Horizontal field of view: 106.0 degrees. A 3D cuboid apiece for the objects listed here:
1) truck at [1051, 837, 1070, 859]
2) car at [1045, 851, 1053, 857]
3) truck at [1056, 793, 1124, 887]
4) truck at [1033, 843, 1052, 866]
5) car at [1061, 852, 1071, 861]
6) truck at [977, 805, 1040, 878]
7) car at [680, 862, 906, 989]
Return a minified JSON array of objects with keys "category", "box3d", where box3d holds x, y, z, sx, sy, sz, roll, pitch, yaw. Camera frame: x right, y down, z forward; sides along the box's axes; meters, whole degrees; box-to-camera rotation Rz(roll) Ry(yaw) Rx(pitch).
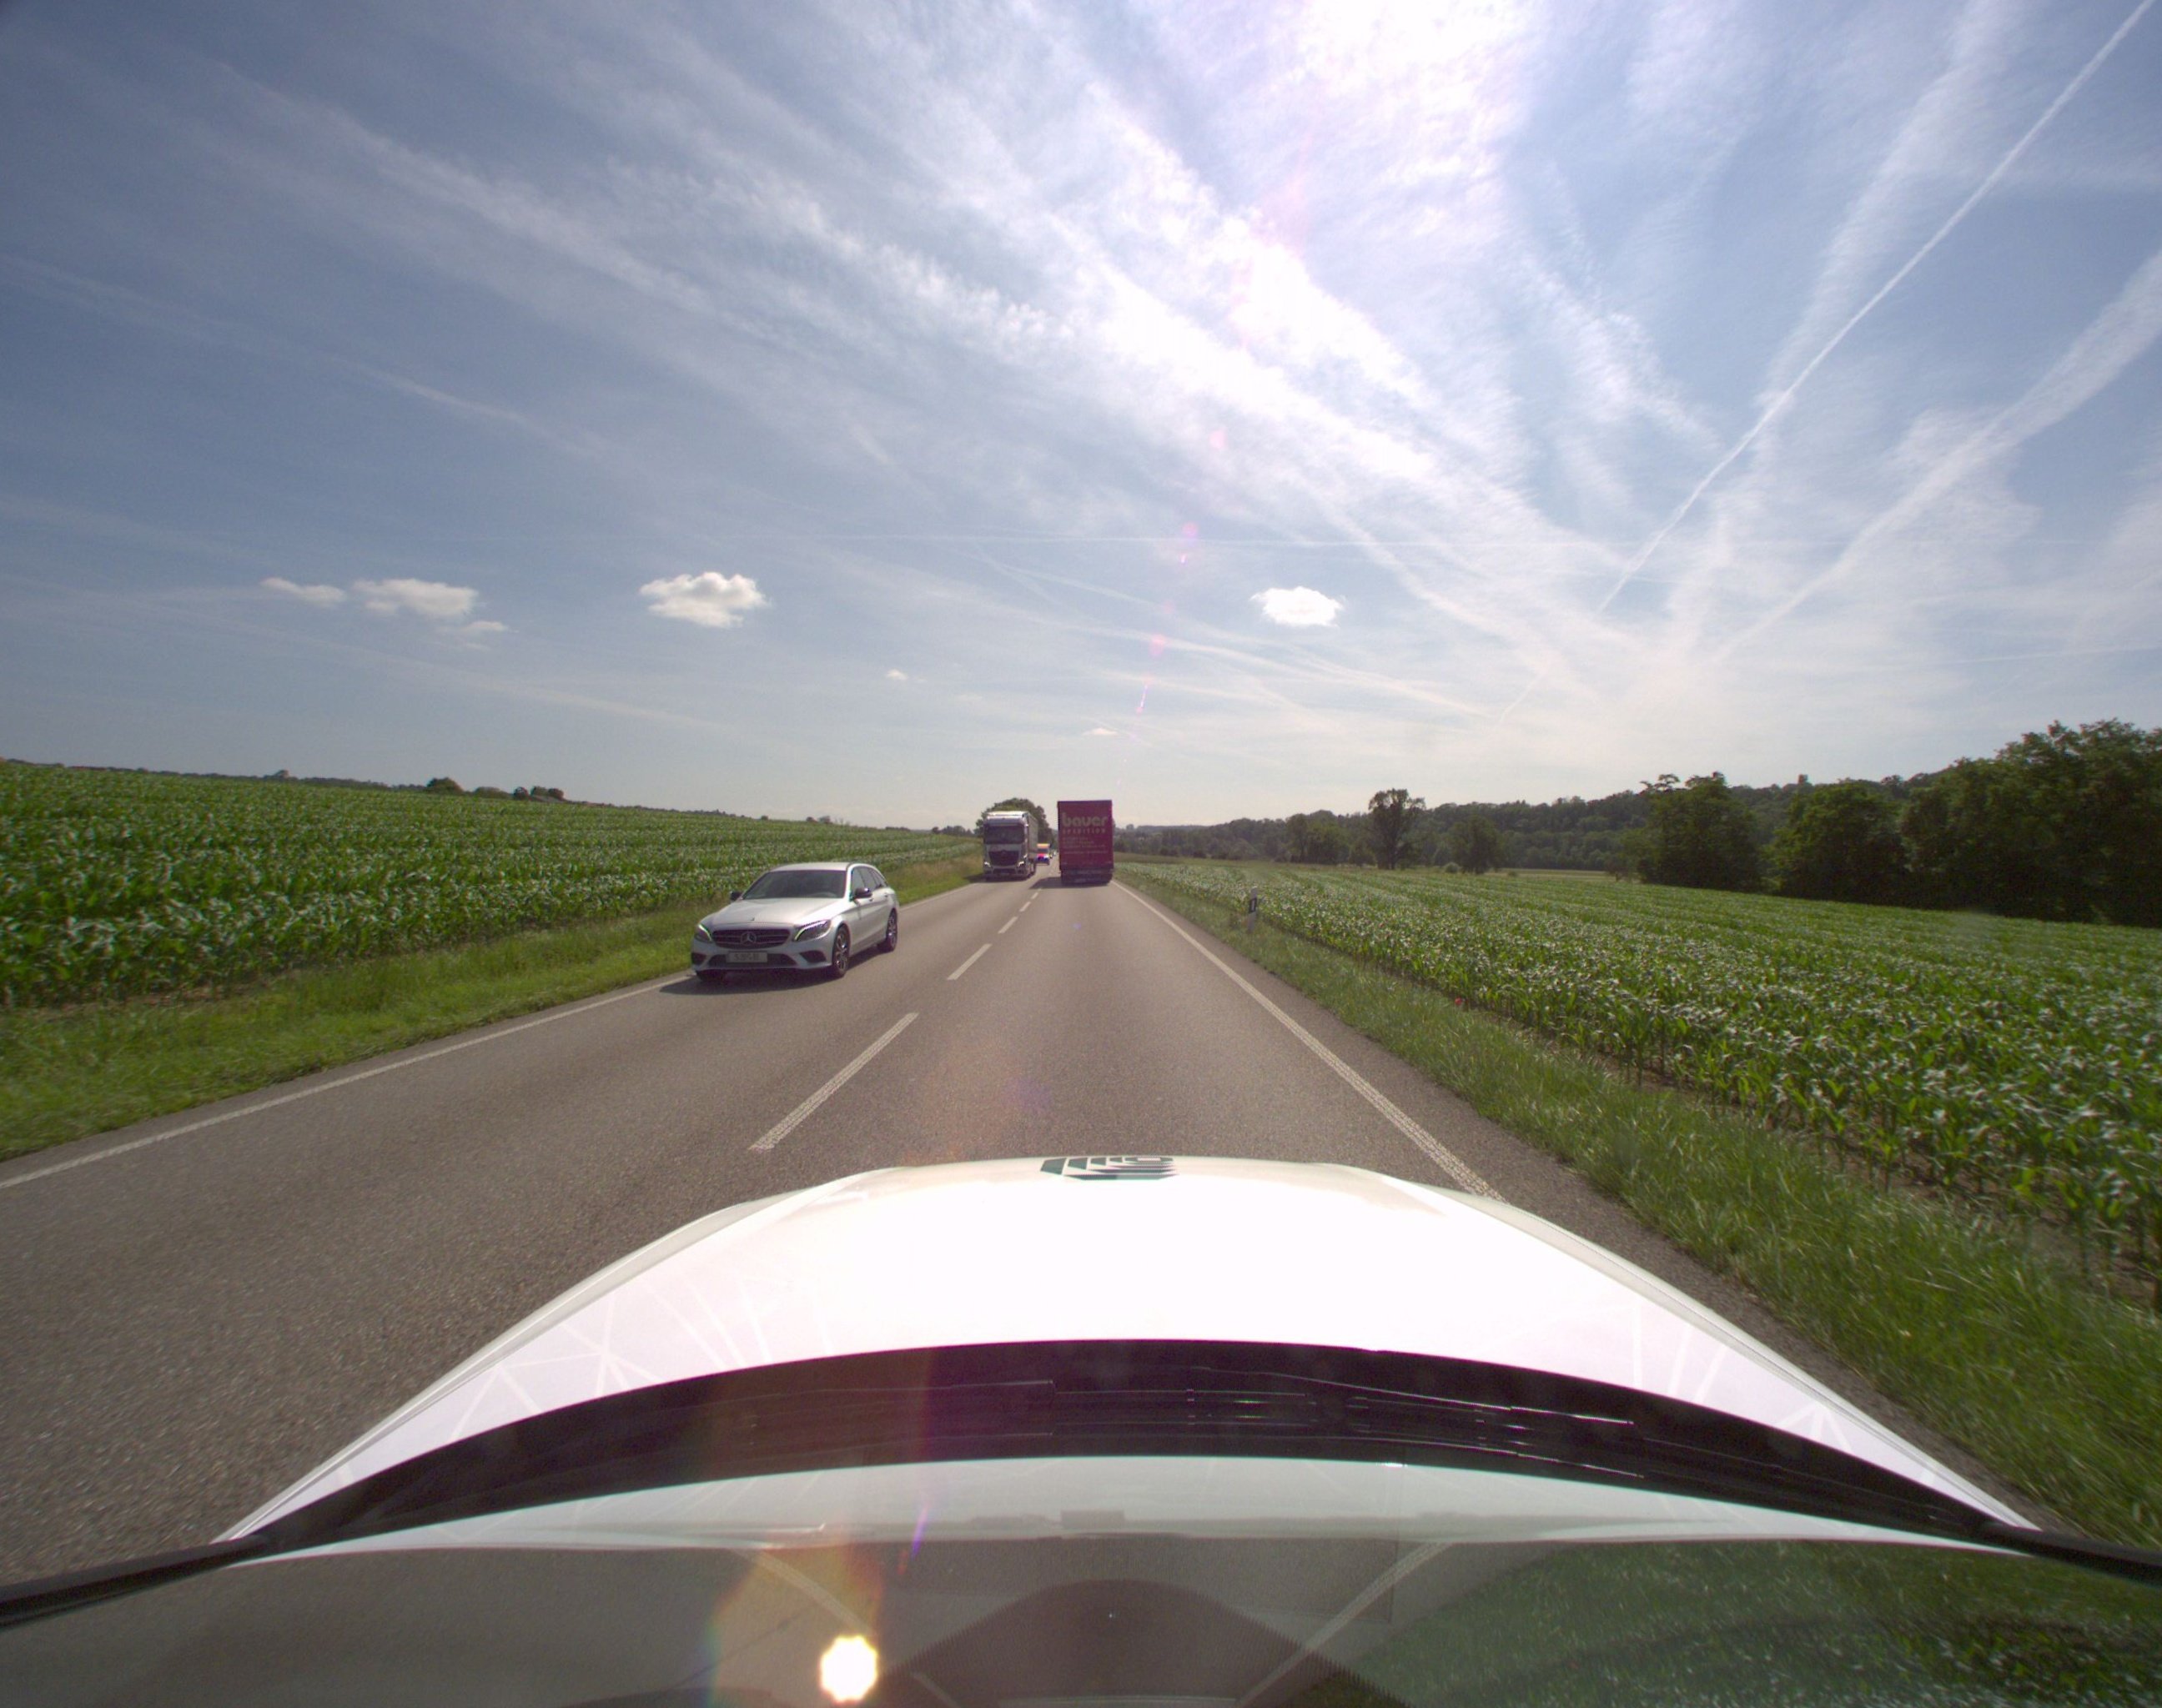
[{"category":"truck","box3d":[-4.314,-1.117,173.123,3.628,4.292,11.982,-1,-1,0]},{"category":"car","box3d":[-7.357,0.013,187.725,1.668,1.457,4.348,-1,0,-2]},{"category":"truck","box3d":[0.448,-0.610,41.752,3.084,4.263,8.313,-1,-1,0]},{"category":"truck","box3d":[-4.861,0.060,102.696,2.202,2.672,6.412,-1,0,-2]},{"category":"car","box3d":[-2.576,0.437,143.775,1.575,1.501,3.878,-1,0,2]},{"category":"truck","box3d":[-4.461,-0.700,53.698,2.818,3.992,16.525,-1,0,-1]},{"category":"car","box3d":[-3.875,0.864,11.781,1.722,1.440,4.176,-1,0,0]}]
